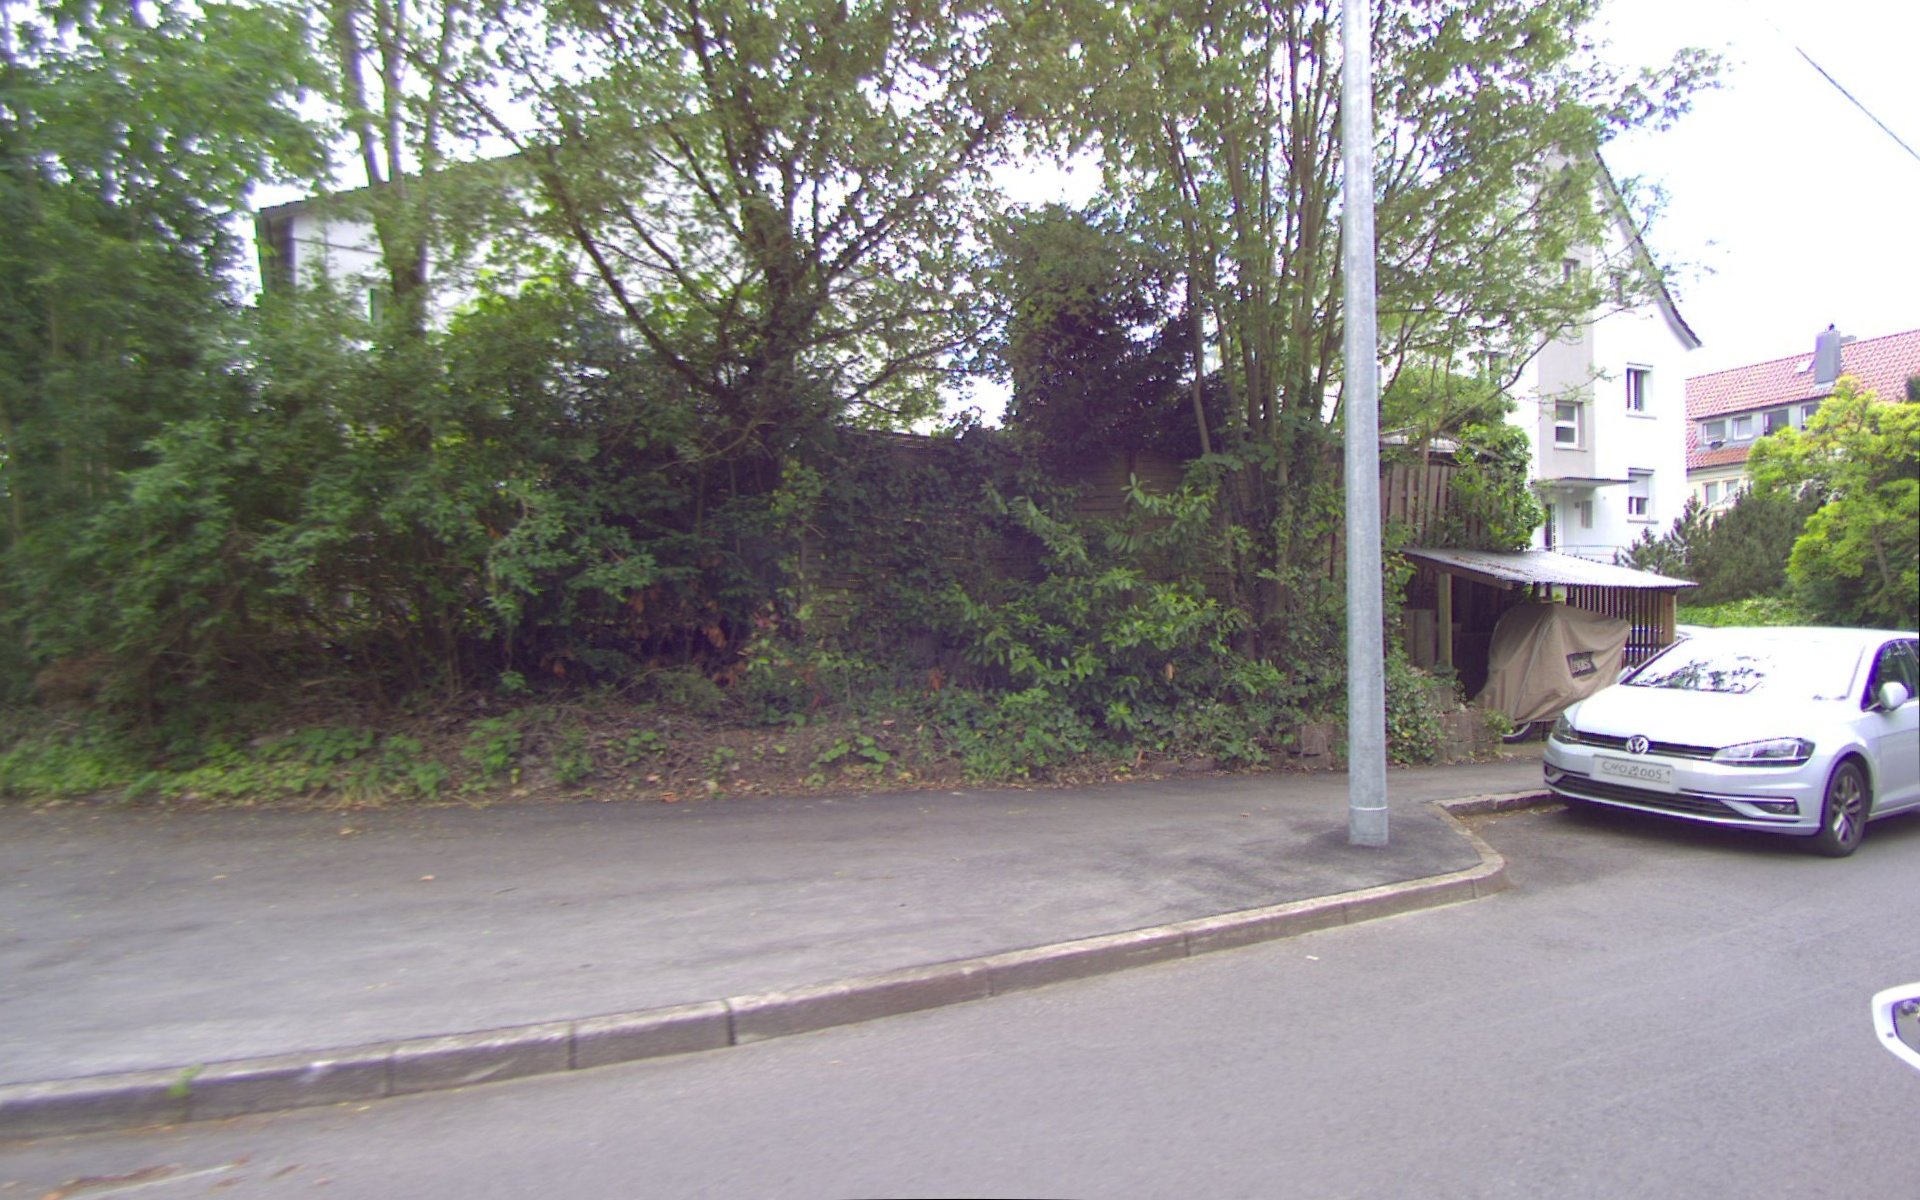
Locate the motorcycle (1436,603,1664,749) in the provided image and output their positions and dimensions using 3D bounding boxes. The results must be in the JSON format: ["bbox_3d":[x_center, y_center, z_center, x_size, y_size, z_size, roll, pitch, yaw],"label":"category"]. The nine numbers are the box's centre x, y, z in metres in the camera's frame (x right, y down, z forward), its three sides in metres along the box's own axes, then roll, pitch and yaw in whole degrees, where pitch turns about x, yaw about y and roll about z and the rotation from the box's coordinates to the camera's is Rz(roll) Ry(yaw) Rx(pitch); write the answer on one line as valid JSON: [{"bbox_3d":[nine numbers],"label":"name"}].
[{"bbox_3d":[6.754,0.823,11.436,2.858,1.505,0.807,1,0,-27],"label":"motorcycle"}]

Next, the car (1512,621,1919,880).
[{"bbox_3d":[6.263,0.955,7.677,4.026,1.487,1.698,2,0,-29],"label":"car"}]
